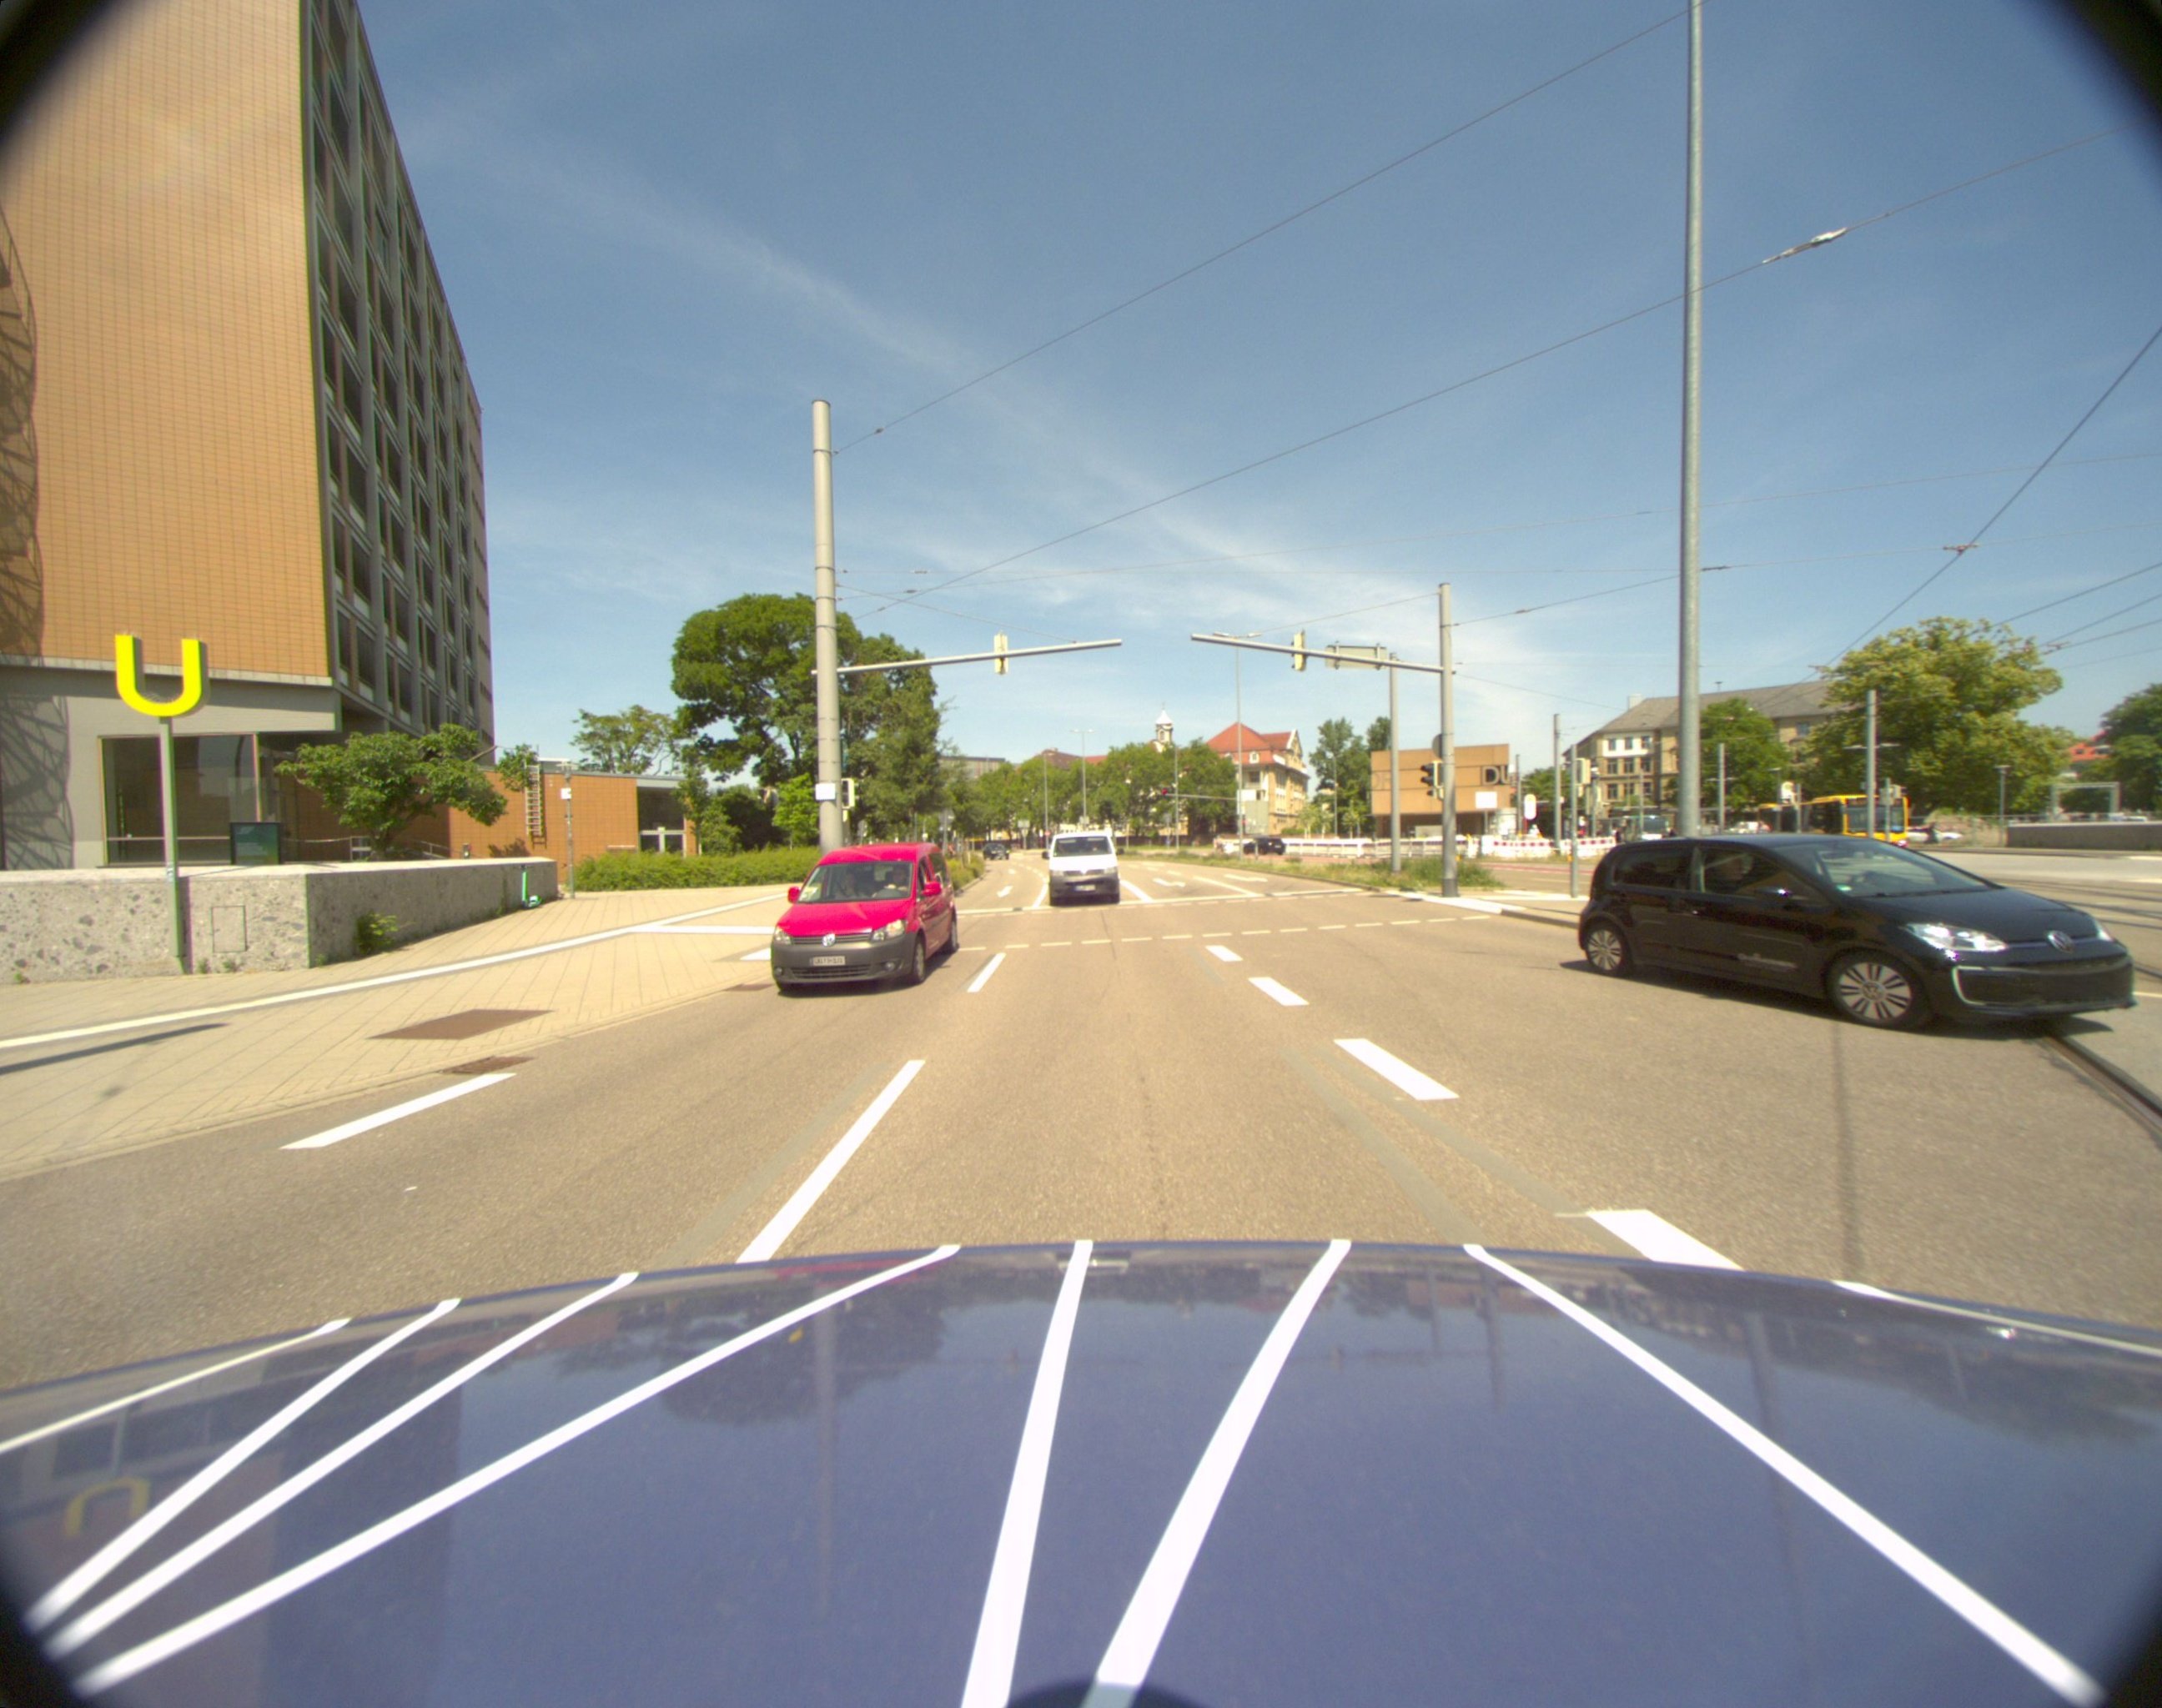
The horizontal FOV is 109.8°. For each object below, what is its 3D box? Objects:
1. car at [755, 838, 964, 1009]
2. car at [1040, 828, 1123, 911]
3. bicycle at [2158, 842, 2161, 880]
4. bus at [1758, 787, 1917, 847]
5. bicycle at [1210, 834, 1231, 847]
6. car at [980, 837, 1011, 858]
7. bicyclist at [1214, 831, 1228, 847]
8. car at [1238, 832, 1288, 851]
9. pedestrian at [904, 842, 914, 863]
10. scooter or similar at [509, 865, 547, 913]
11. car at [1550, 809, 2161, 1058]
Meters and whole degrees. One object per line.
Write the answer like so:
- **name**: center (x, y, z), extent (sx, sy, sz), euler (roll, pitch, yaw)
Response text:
- **car**: center (-2.824, 0.731, 10.792), extent (1.655, 1.848, 4.544), euler (-2, 2, -1)
- **car**: center (-0.028, 0.313, 21.355), extent (1.971, 1.959, 4.846), euler (-3, 2, -1)
- **bicycle**: center (25.708, 0.146, 17.130), extent (1.898, 0.850, 0.628), euler (-1, 2, 2)
- **bus**: center (43.647, -2.076, 44.485), extent (2.849, 2.999, 12.239), euler (-1, 2, 26)
- **bicycle**: center (12.452, -1.224, 67.671), extent (0.879, 1.066, 2.228), euler (-4, 3, -16)
- **car**: center (-8.596, -0.667, 76.085), extent (2.002, 2.002, 3.991), euler (-2, 2, -23)
- **bicyclist**: center (12.499, -1.348, 67.656), extent (0.587, 1.348, 1.437), euler (-4, 3, -16)
- **car**: center (14.884, -1.070, 62.322), extent (2.001, 1.457, 4.839), euler (-2, 2, -14)
- **pedestrian**: center (-14.584, -0.132, 64.412), extent (0.728, 1.788, 0.613), euler (-1, 2, -1)
- **scooter or similar**: center (-14.368, 0.897, 19.763), extent (0.459, 1.164, 1.248), euler (-2, 2, -21)
- **car**: center (6.385, 0.466, 6.802), extent (1.749, 1.567, 3.734), euler (-2, 1, -8)
